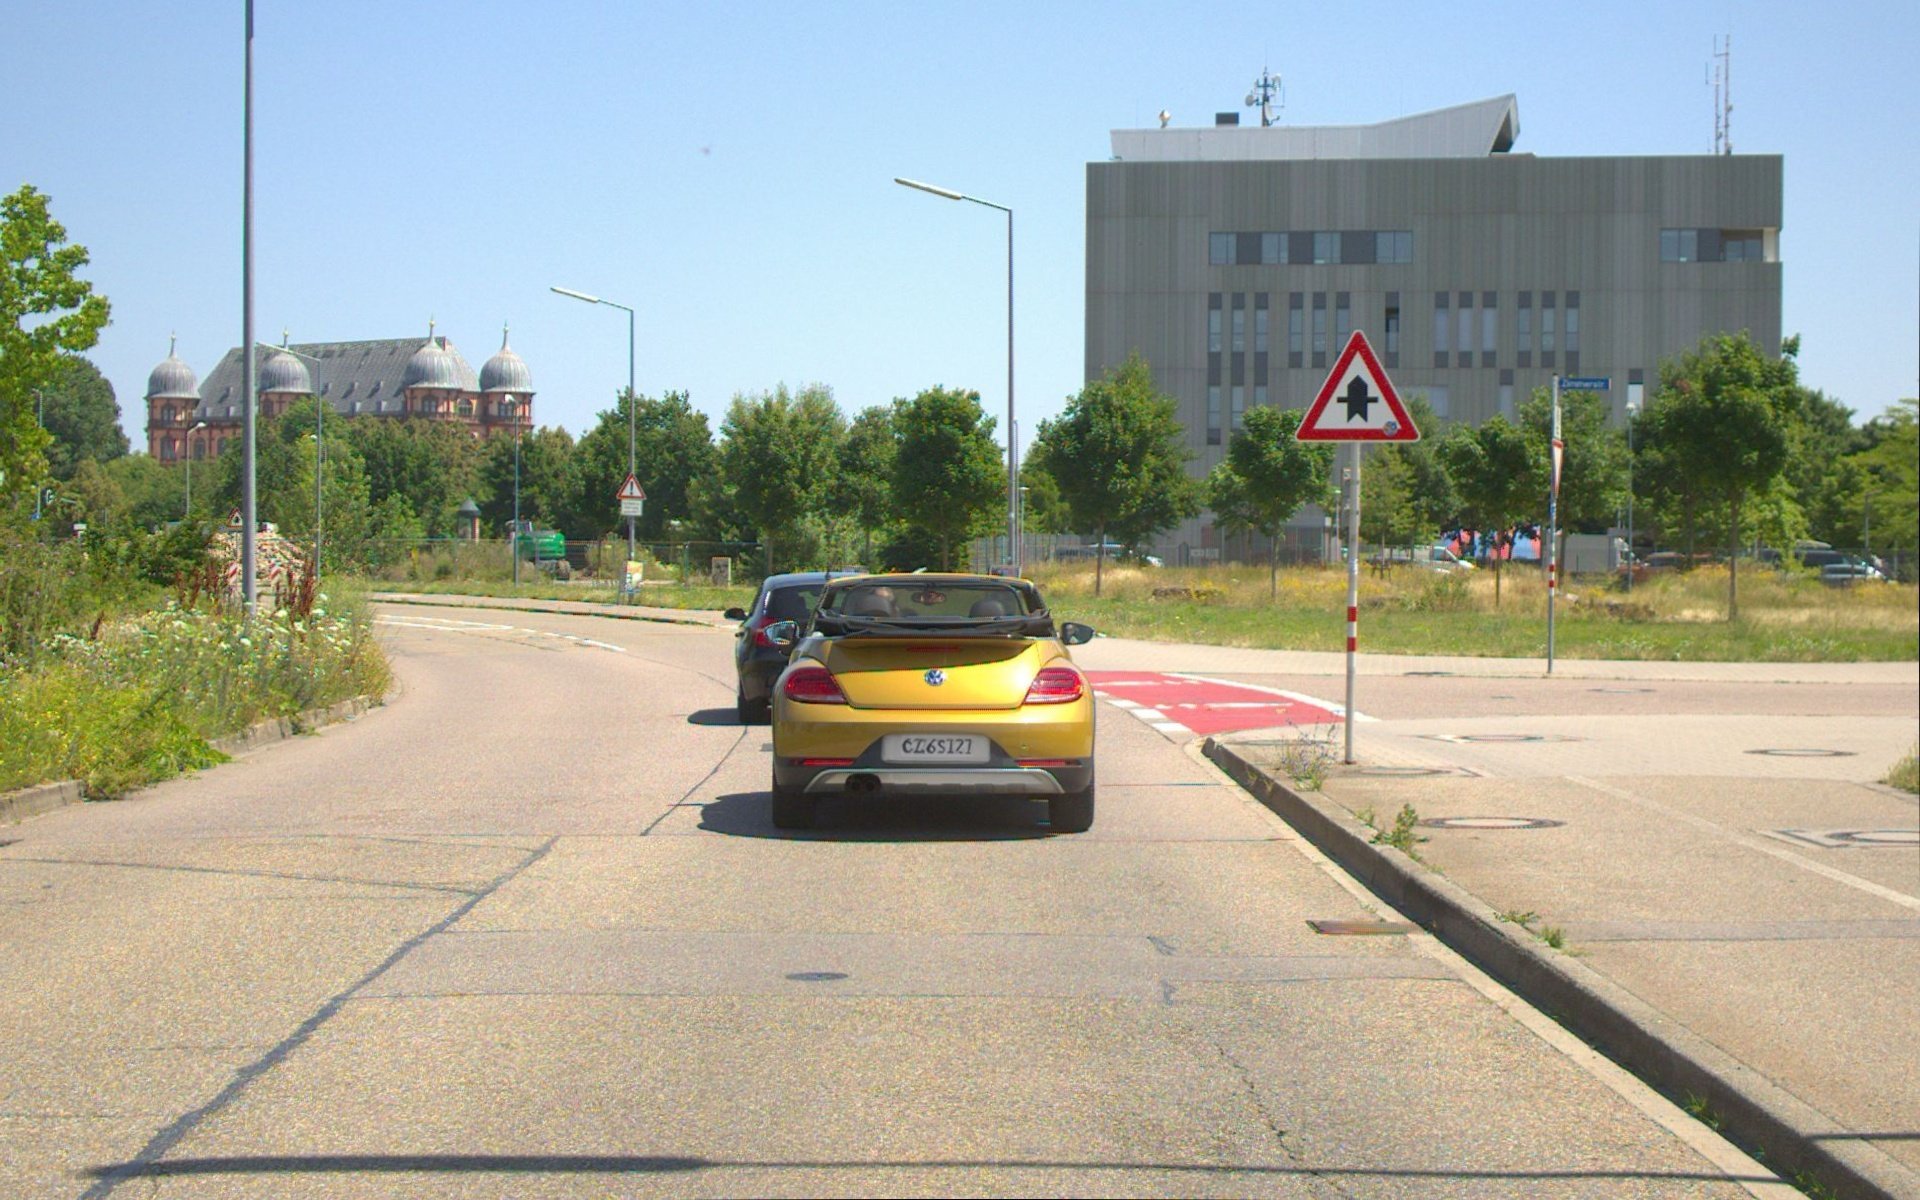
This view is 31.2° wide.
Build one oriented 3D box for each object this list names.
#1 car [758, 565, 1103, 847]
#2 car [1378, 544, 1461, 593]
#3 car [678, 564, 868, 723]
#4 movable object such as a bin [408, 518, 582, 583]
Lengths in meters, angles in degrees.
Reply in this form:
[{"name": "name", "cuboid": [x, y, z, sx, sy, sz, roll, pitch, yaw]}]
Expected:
[{"name": "car", "cuboid": [-0.138, 0.534, 19.891, 1.790, 1.432, 3.814, 1, 1, 1]}, {"name": "car", "cuboid": [22.053, -1.517, 164.927, 3.844, 2.286, 1.741, 1, 1, 11]}, {"name": "car", "cuboid": [-1.857, 0.378, 33.509, 1.726, 1.438, 4.001, 0, 1, -4]}, {"name": "movable object such as a bin", "cuboid": [-24.415, -2.591, 179.899, 4.939, 3.249, 10.468, 0, 1, -34]}]
